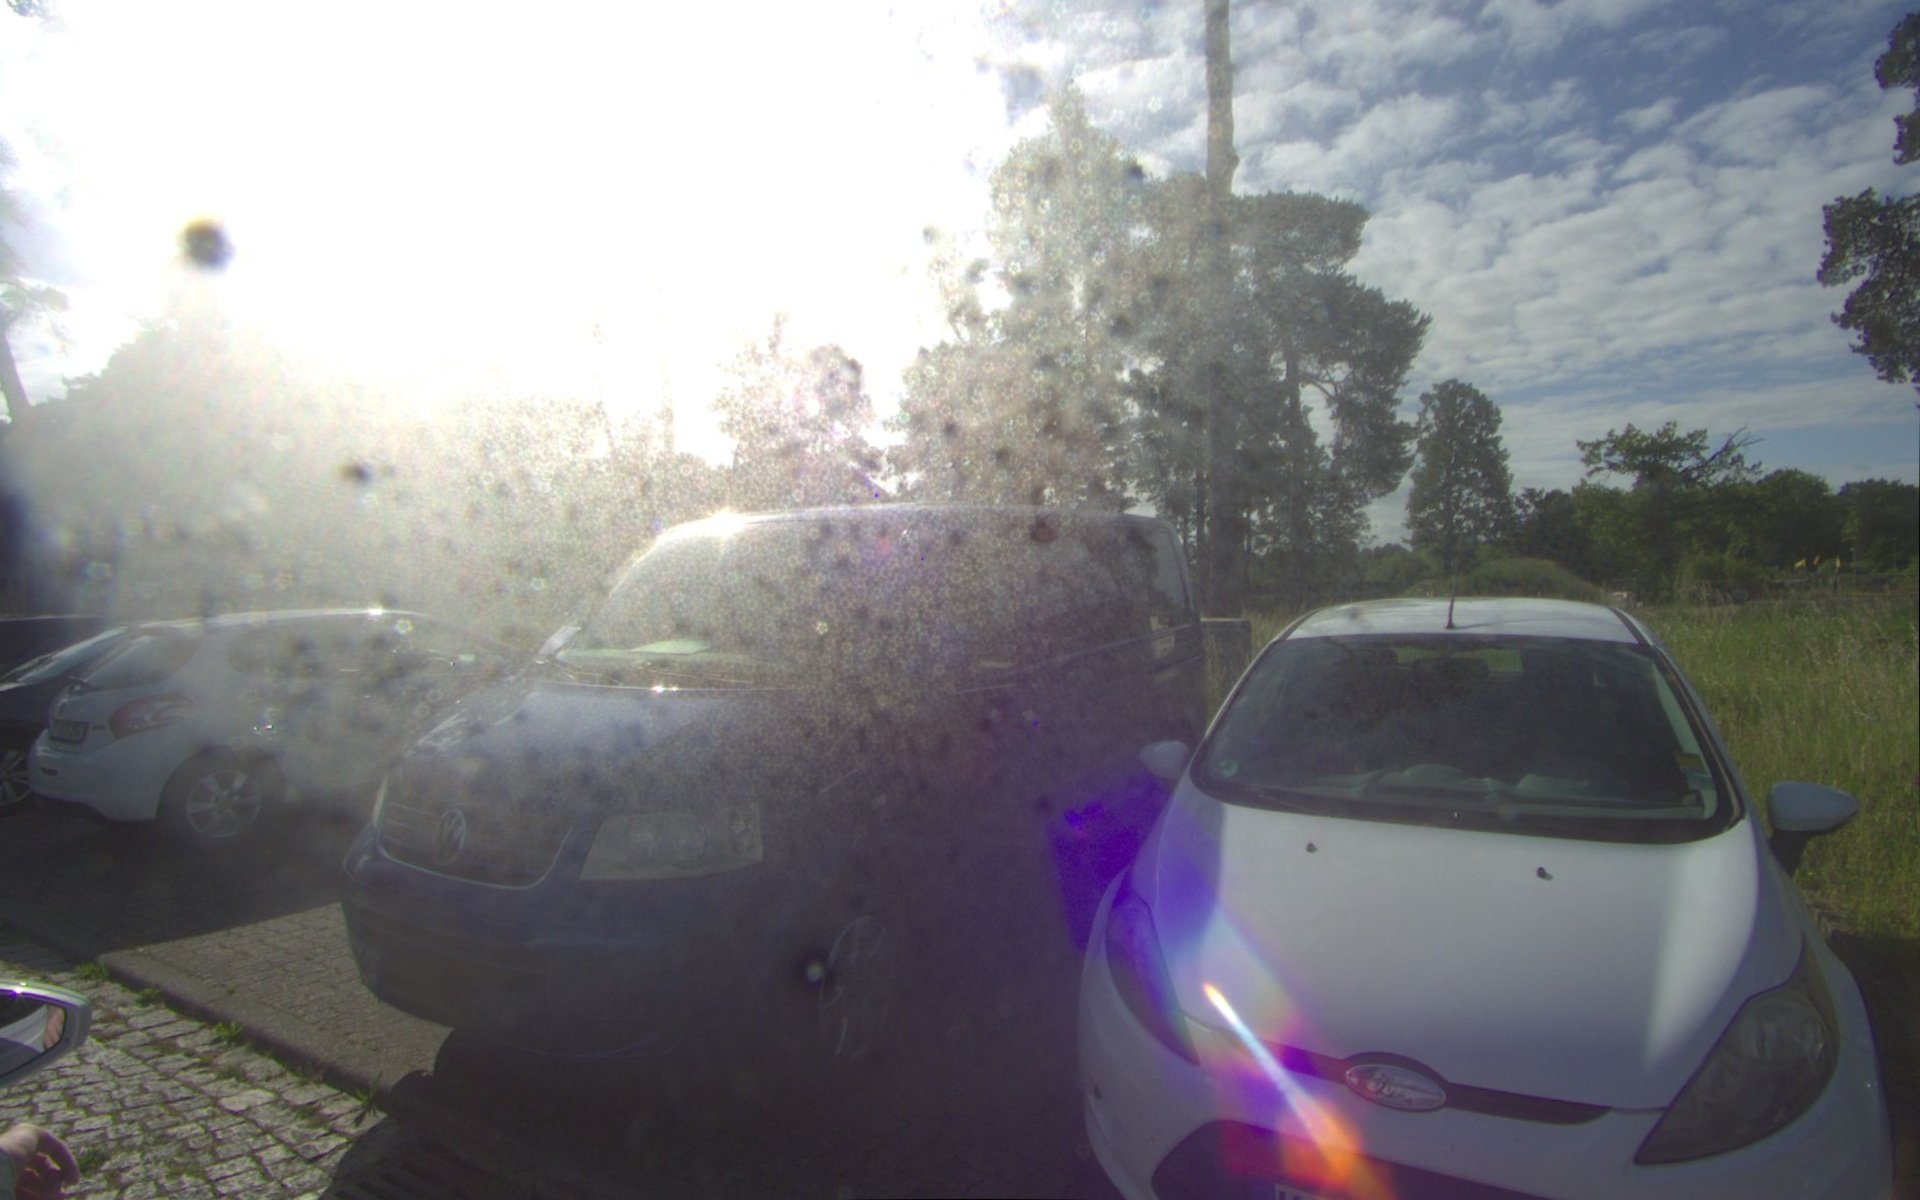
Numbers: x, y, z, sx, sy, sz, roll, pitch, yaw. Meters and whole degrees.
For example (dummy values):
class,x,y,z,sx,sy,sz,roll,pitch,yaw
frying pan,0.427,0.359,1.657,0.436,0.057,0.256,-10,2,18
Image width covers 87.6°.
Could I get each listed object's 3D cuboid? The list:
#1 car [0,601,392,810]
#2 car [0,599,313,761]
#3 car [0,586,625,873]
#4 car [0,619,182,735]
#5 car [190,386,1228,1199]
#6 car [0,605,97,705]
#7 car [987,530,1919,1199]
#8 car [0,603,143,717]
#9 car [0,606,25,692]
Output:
class,x,y,z,sx,sy,sz,roll,pitch,yaw
car,-7.409,0.804,8.863,1.829,1.469,3.698,0,2,32
car,-9.488,0.781,10.880,1.790,1.469,3.698,0,2,32
car,-4.679,0.721,7.723,1.736,1.556,3.698,0,2,32
car,-11.856,0.943,11.923,1.721,1.240,3.698,0,2,32
car,-0.396,0.454,4.726,1.971,1.962,4.688,0,2,31
car,-15.538,0.876,14.368,1.755,1.434,4.421,0,2,32
car,2.024,0.630,3.771,1.911,1.598,4.387,0,2,31
car,-13.756,0.844,13.348,1.613,1.469,4.117,0,2,32
car,-17.909,0.900,15.624,1.613,1.435,4.548,0,2,32
